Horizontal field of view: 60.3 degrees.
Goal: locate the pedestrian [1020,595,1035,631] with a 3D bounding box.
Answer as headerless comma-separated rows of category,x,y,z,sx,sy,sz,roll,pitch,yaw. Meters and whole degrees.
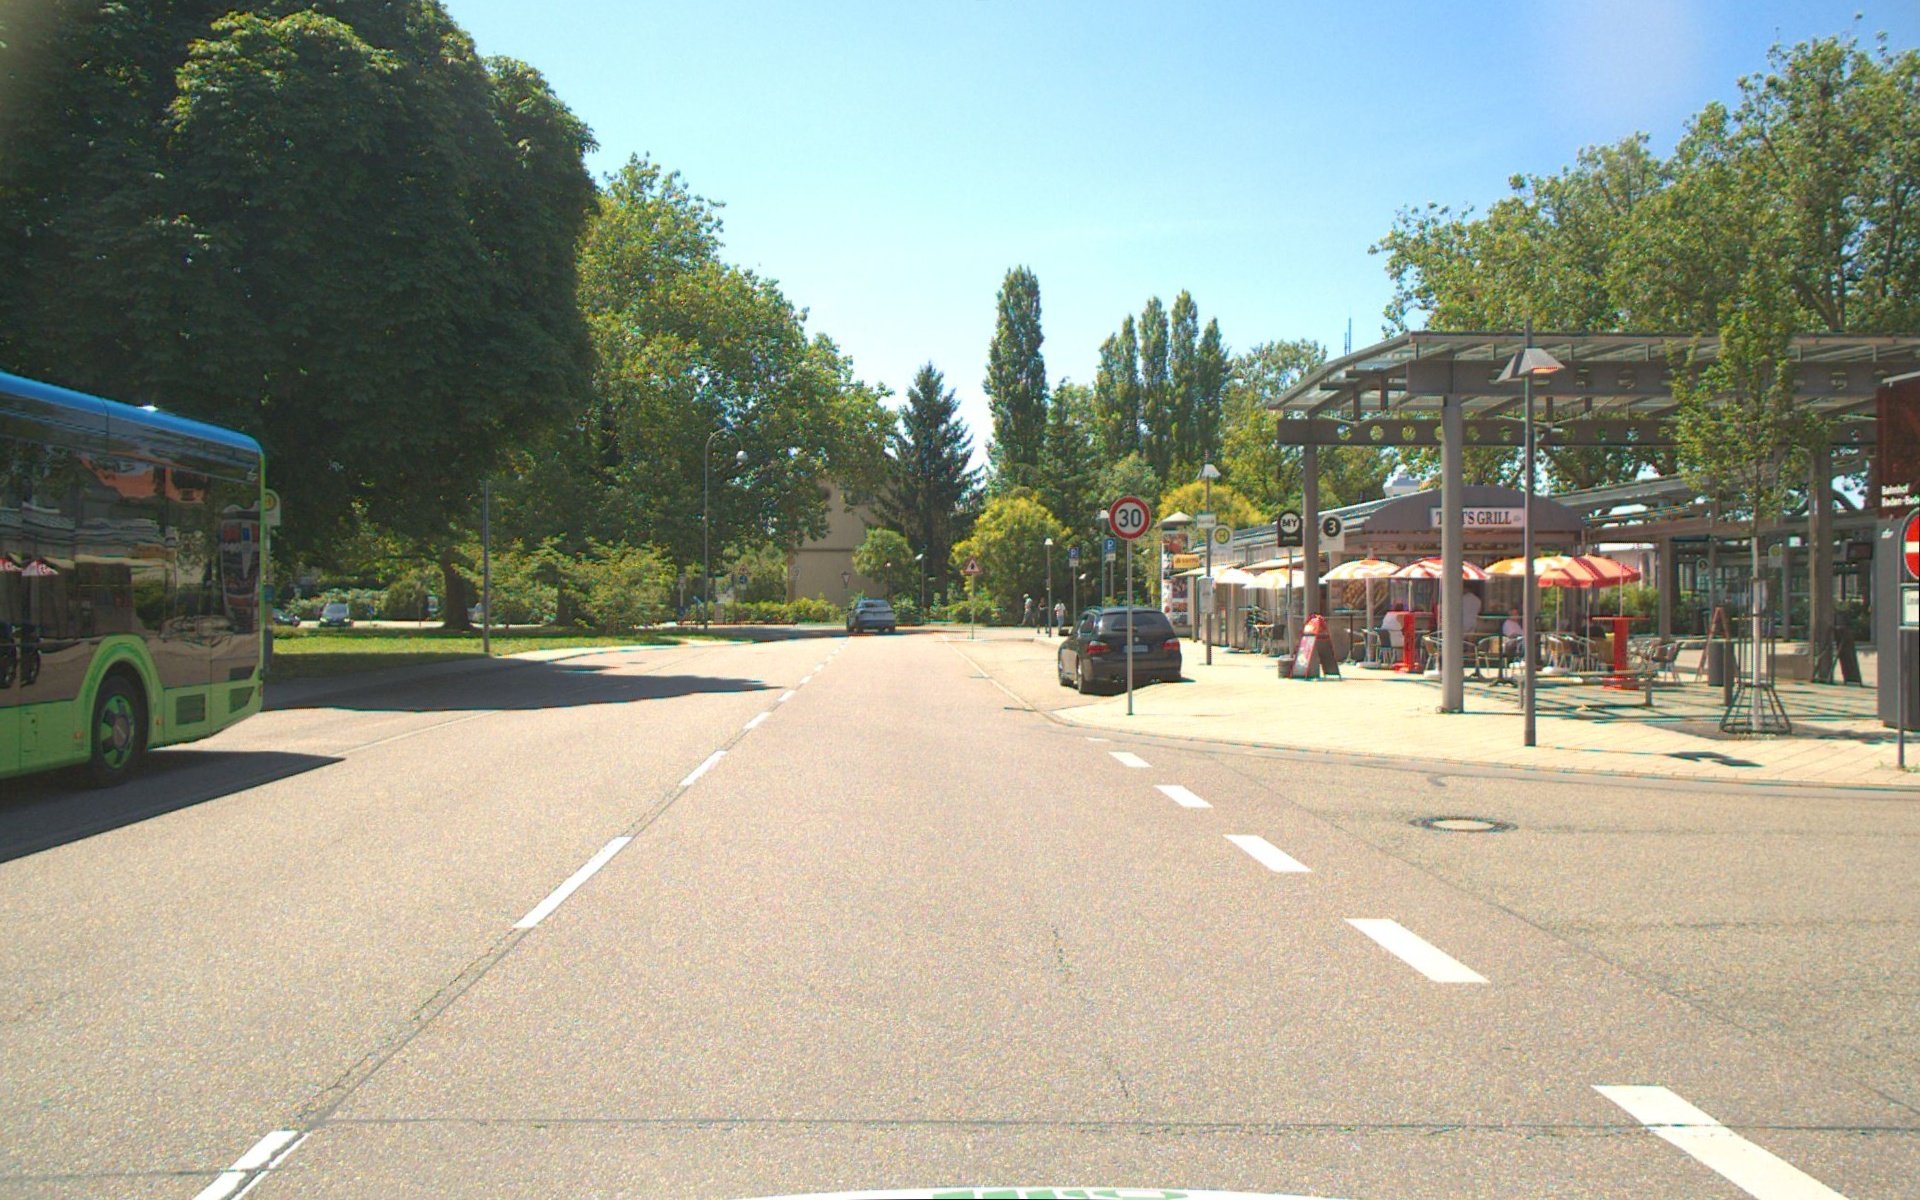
pedestrian,3.744,0.725,91.418,0.836,2.000,0.806,0,0,3

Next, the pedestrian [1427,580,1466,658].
pedestrian,11.127,0.437,37.827,0.672,1.768,0.707,0,0,-3

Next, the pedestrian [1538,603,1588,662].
pedestrian,12.920,0.688,35.437,0.744,1.226,0.737,2,-1,-3

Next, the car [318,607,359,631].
car,-38.496,1.141,102.475,1.521,1.435,3.797,0,0,-7

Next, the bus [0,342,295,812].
bus,-8.190,-0.162,11.354,2.752,3.340,12.418,0,0,-3

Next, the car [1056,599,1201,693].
car,2.988,0.779,30.331,1.888,1.486,4.722,-3,0,-3

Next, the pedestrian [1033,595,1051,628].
pedestrian,4.155,0.588,83.614,0.623,1.678,0.750,0,-2,25

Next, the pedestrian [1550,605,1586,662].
pedestrian,13.361,0.740,36.381,0.641,1.226,0.593,2,-1,13

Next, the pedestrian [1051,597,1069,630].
pedestrian,5.149,0.716,85.122,0.706,1.678,0.750,0,-2,25

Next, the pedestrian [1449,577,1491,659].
pedestrian,11.195,0.393,36.315,0.672,1.768,0.707,0,-1,-3

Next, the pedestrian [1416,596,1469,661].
pedestrian,10.043,0.578,34.417,0.885,1.335,0.679,0,0,-37

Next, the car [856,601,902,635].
car,-4.022,0.872,83.151,1.941,1.655,4.779,0,0,2

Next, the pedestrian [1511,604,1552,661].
pedestrian,12.561,0.709,36.349,0.642,1.226,0.592,2,-1,-3

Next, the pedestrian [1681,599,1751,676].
pedestrian,13.078,0.642,28.633,0.828,1.300,0.895,0,0,2

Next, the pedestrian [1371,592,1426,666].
pedestrian,8.687,0.561,32.758,0.886,1.442,0.678,0,0,-40

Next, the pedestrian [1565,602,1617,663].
pedestrian,13.026,0.672,34.173,0.744,1.226,0.737,2,-1,-3

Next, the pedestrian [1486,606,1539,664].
pedestrian,11.478,0.710,34.385,0.885,1.181,0.679,0,0,-37

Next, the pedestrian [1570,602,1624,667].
pedestrian,11.684,0.628,30.369,0.672,1.181,0.895,0,0,2
